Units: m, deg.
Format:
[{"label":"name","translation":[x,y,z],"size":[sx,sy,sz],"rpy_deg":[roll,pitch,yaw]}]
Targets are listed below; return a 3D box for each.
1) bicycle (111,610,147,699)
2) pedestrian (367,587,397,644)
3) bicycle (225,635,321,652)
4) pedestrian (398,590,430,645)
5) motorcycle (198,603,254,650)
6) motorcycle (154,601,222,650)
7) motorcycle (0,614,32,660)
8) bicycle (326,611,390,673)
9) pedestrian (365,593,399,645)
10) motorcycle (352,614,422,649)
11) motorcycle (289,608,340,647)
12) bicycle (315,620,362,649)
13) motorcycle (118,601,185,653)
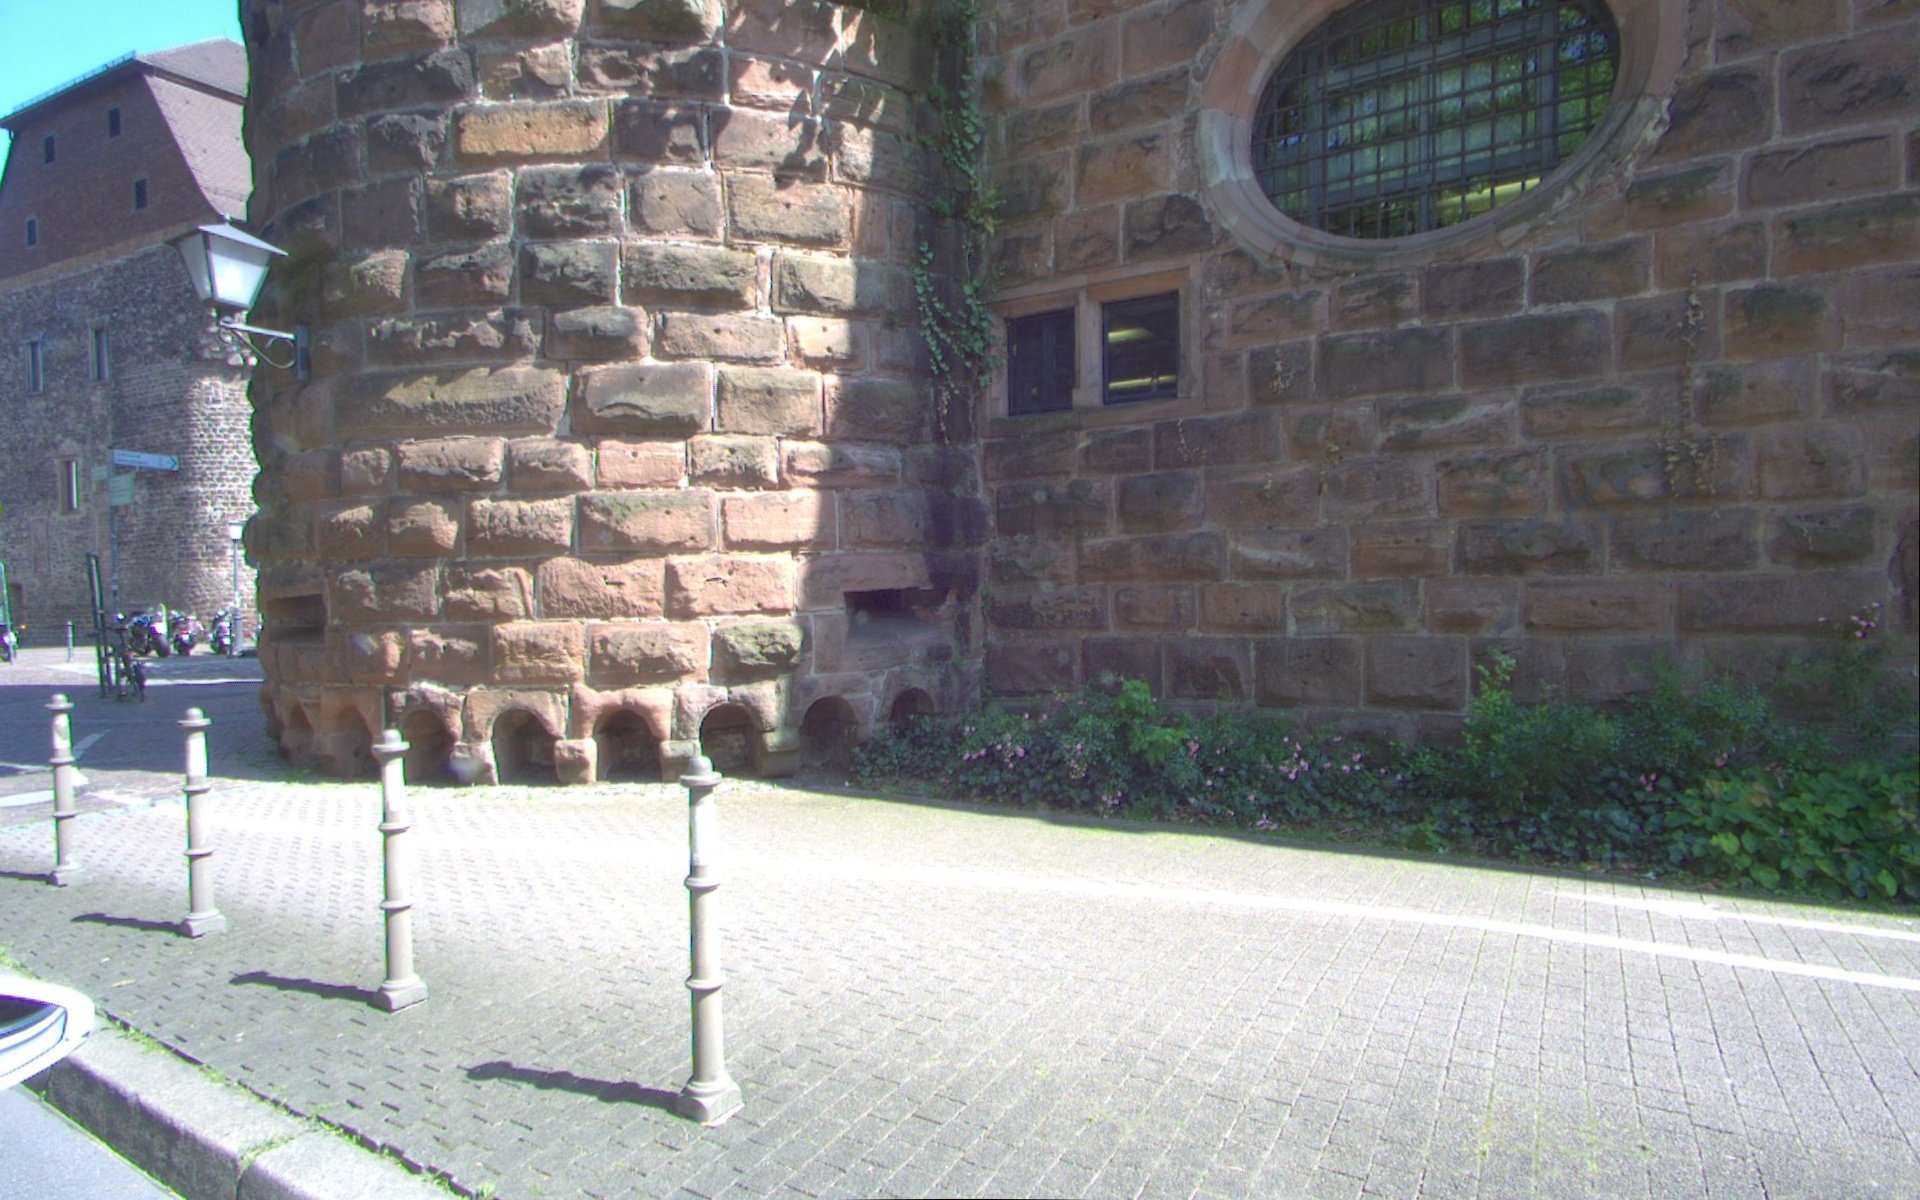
[{"label":"bicycle","translation":[-12.000,0.760,14.454],"size":[1.750,1.220,0.192],"rpy_deg":[0,0,44]},{"label":"pedestrian","translation":[-20.706,0.565,35.888],"size":[0.867,2.039,0.728],"rpy_deg":[1,-1,-34]},{"label":"bicycle","translation":[-17.518,1.108,25.570],"size":[1.916,0.386,0.909],"rpy_deg":[0,-2,-44]},{"label":"pedestrian","translation":[-18.863,0.613,34.601],"size":[0.806,1.908,0.670],"rpy_deg":[0,-1,-16]},{"label":"motorcycle","translation":[-19.981,0.734,27.242],"size":[2.002,1.251,0.545],"rpy_deg":[-1,-2,32]},{"label":"motorcycle","translation":[-20.275,0.679,26.274],"size":[2.280,1.251,0.674],"rpy_deg":[-1,-2,32]},{"label":"motorcycle","translation":[-22.187,0.834,23.053],"size":[2.453,1.026,0.565],"rpy_deg":[0,1,32]},{"label":"bicycle","translation":[-11.960,0.813,19.875],"size":[1.707,1.178,0.445],"rpy_deg":[0,1,36]},{"label":"pedestrian","translation":[-20.224,0.660,35.055],"size":[0.831,1.826,0.654],"rpy_deg":[0,0,-7]},{"label":"motorcycle","translation":[-17.948,0.985,31.416],"size":[0.474,1.067,1.858],"rpy_deg":[-1,-2,40]},{"label":"motorcycle","translation":[-18.114,0.779,28.092],"size":[1.814,1.086,0.506],"rpy_deg":[-1,-2,32]},{"label":"bicycle","translation":[-18.387,1.008,29.618],"size":[1.898,0.831,0.353],"rpy_deg":[0,-1,32]},{"label":"motorcycle","translation":[-20.525,0.682,25.415],"size":[2.169,1.282,0.654],"rpy_deg":[-1,-1,32]}]
